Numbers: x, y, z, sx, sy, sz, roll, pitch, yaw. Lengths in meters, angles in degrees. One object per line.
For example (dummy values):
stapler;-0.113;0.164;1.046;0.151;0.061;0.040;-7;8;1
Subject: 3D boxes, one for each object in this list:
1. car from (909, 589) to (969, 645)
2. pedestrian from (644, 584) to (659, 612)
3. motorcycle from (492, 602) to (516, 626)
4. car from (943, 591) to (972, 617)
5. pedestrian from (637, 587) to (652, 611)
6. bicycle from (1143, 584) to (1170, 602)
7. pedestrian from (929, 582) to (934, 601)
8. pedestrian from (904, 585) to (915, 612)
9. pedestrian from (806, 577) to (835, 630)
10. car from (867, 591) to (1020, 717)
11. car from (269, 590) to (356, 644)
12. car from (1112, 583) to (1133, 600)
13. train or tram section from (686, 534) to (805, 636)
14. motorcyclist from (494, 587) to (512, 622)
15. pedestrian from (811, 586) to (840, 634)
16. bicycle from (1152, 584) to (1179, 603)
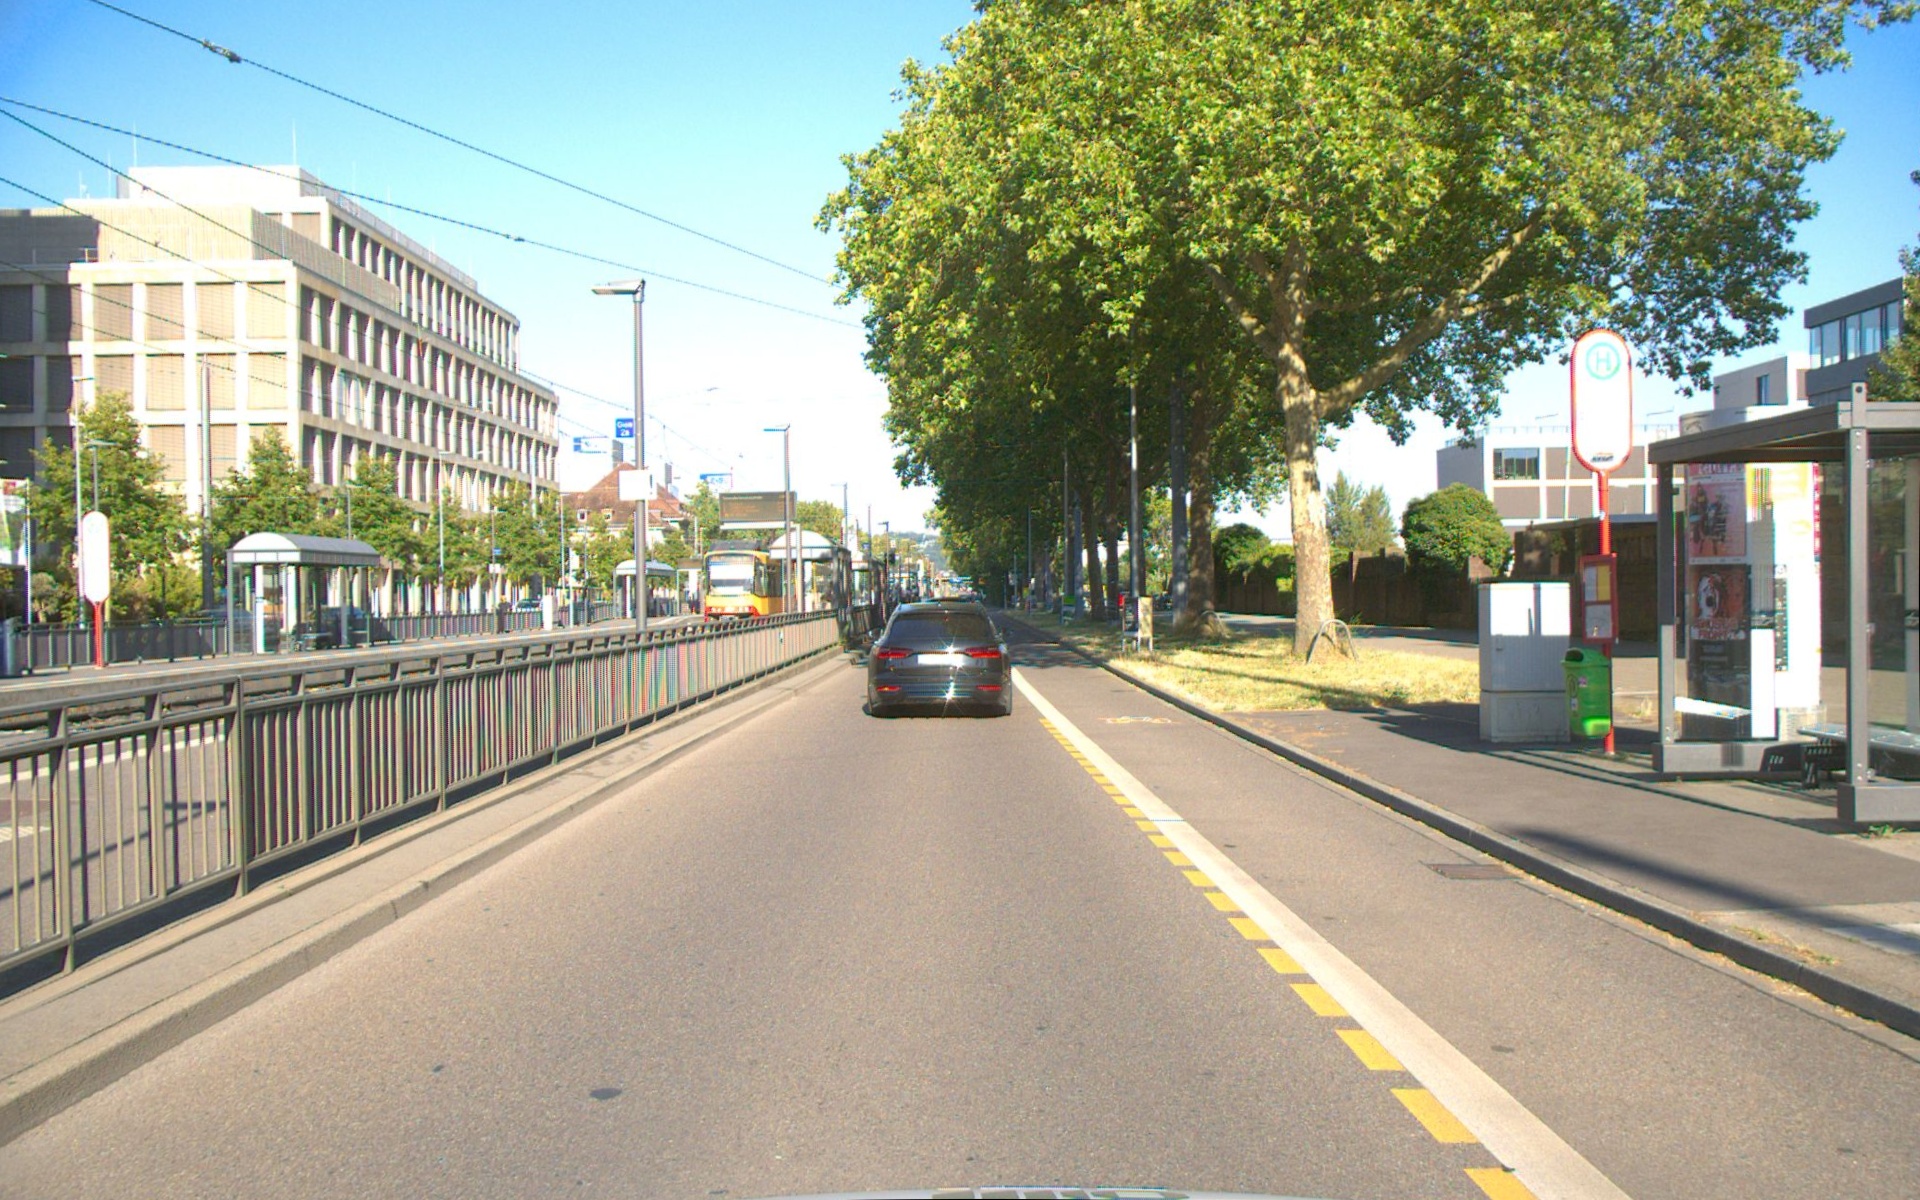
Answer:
car;-0.683;0.492;51.193;1.727;1.647;3.999;-1;0;-2
pedestrian;-17.310;-0.118;92.751;0.601;1.554;0.725;-1;0;8
motorcycle;-20.961;0.649;76.052;0.592;1.039;1.842;-1;0;1
car;-0.178;0.225;109.922;1.727;1.647;3.999;-1;0;-2
pedestrian;-17.211;-0.074;90.312;0.601;1.282;0.725;-1;0;4
bicycle;13.141;-0.463;110.669;1.737;1.140;0.439;-2;0;-1
pedestrian;-2.580;-0.763;150.994;0.403;1.747;0.665;-1;0;0
pedestrian;-3.112;-0.090;101.559;0.599;1.698;0.614;-1;0;2
pedestrian;-4.139;0.095;49.007;0.730;1.535;0.666;-1;0;2
car;-0.258;0.651;21.843;1.840;1.482;3.355;-1;1;-2
car;-25.828;0.642;66.118;1.953;2.049;3.999;-1;1;-2
car;15.121;-0.820;153.924;1.581;1.542;3.803;-1;0;0
train or tram section;-8.964;-0.627;71.147;3.241;3.896;14.219;-1;0;0
motorcyclist;-20.958;0.204;75.924;0.563;1.560;0.765;-1;0;1
pedestrian;-3.722;0.263;45.685;0.726;1.296;0.524;-1;0;-1
bicycle;12.960;-0.408;104.387;1.653;1.140;0.439;-2;0;-1
